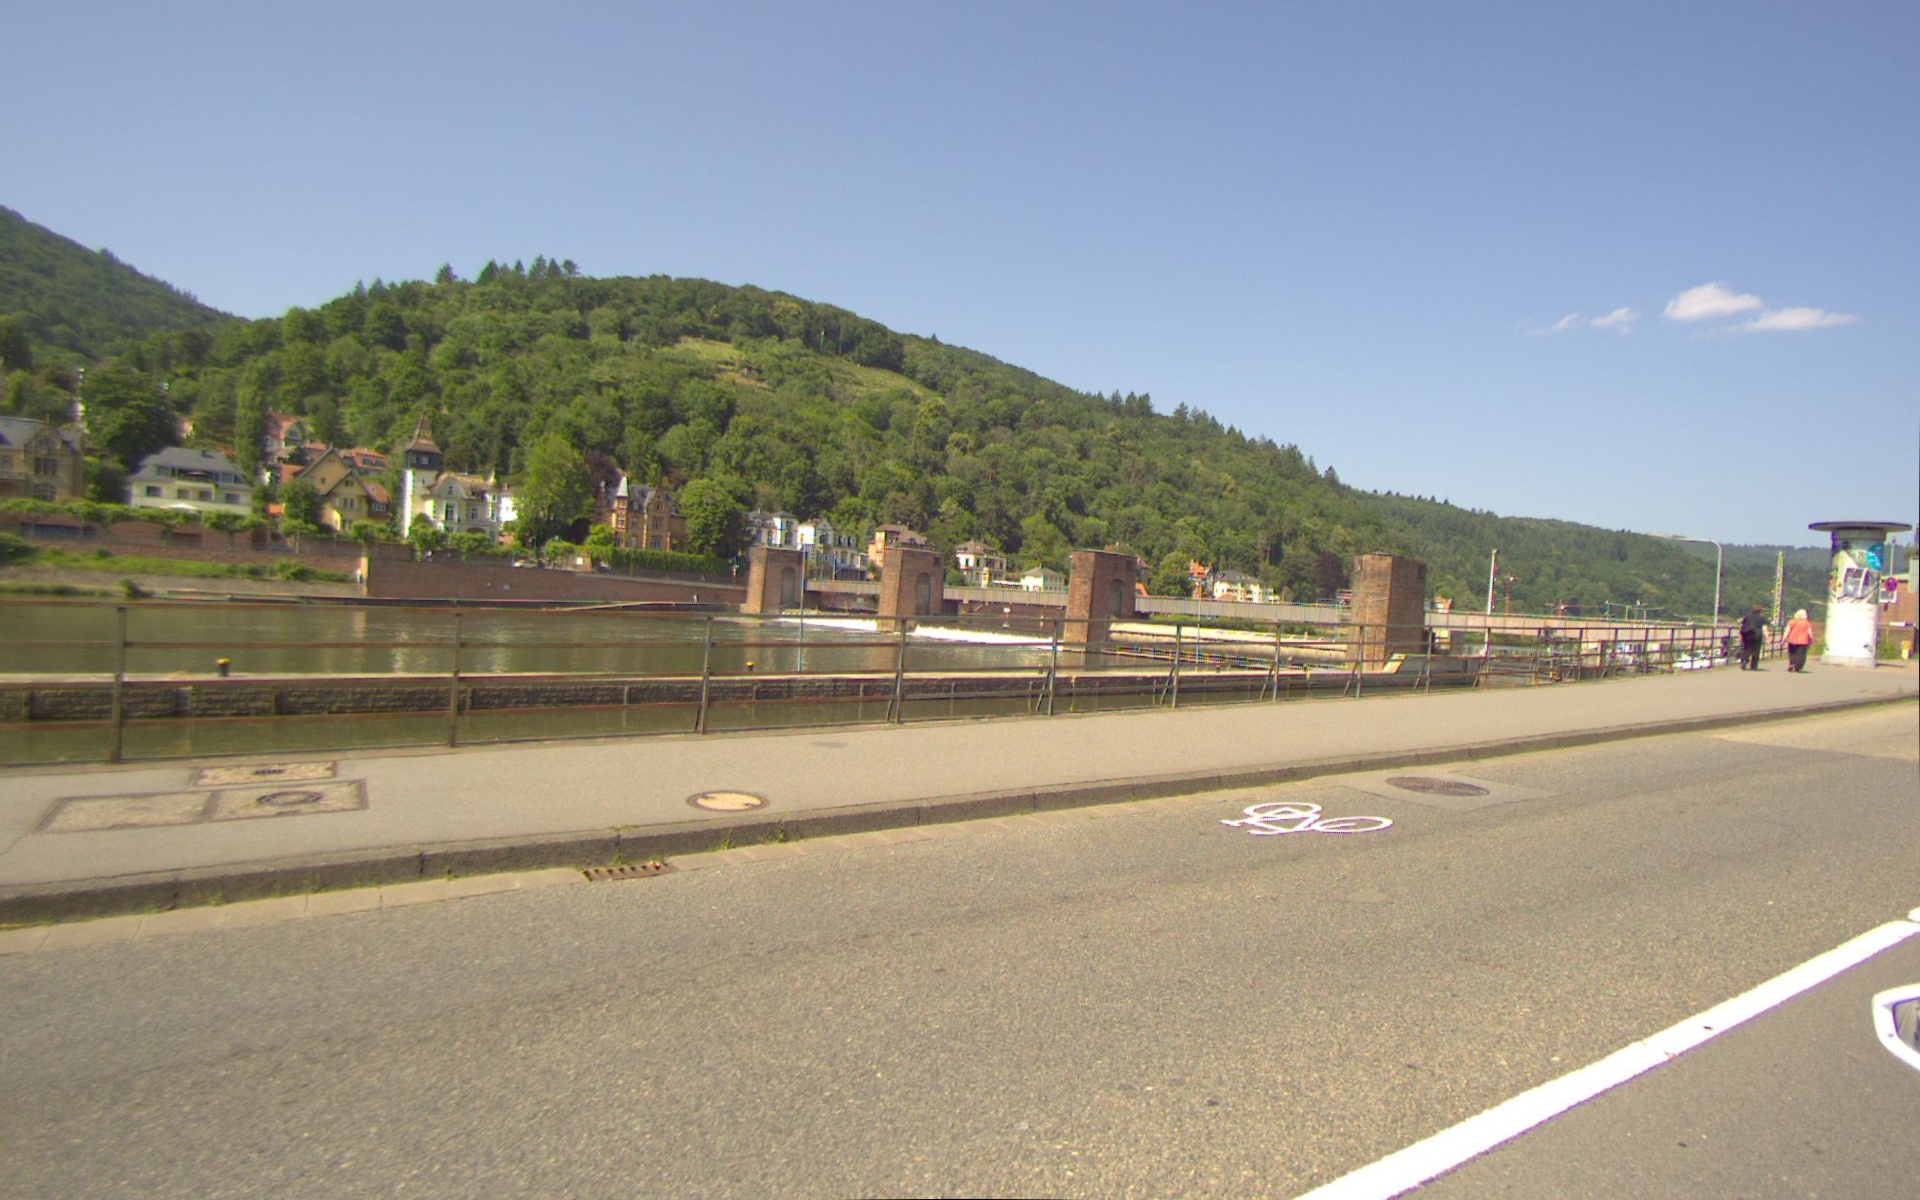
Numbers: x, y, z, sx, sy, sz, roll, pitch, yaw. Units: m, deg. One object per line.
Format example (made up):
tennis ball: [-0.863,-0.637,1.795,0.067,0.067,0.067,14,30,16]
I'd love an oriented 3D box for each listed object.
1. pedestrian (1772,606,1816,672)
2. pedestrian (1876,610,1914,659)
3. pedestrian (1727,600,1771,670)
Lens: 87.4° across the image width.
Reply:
pedestrian: [21.474,1.004,25.870,0.810,1.643,0.696,2,1,-41]
pedestrian: [35.689,1.301,38.336,1.032,1.820,0.885,2,0,-38]
pedestrian: [20.124,0.878,25.616,0.767,1.732,0.677,2,1,-39]
